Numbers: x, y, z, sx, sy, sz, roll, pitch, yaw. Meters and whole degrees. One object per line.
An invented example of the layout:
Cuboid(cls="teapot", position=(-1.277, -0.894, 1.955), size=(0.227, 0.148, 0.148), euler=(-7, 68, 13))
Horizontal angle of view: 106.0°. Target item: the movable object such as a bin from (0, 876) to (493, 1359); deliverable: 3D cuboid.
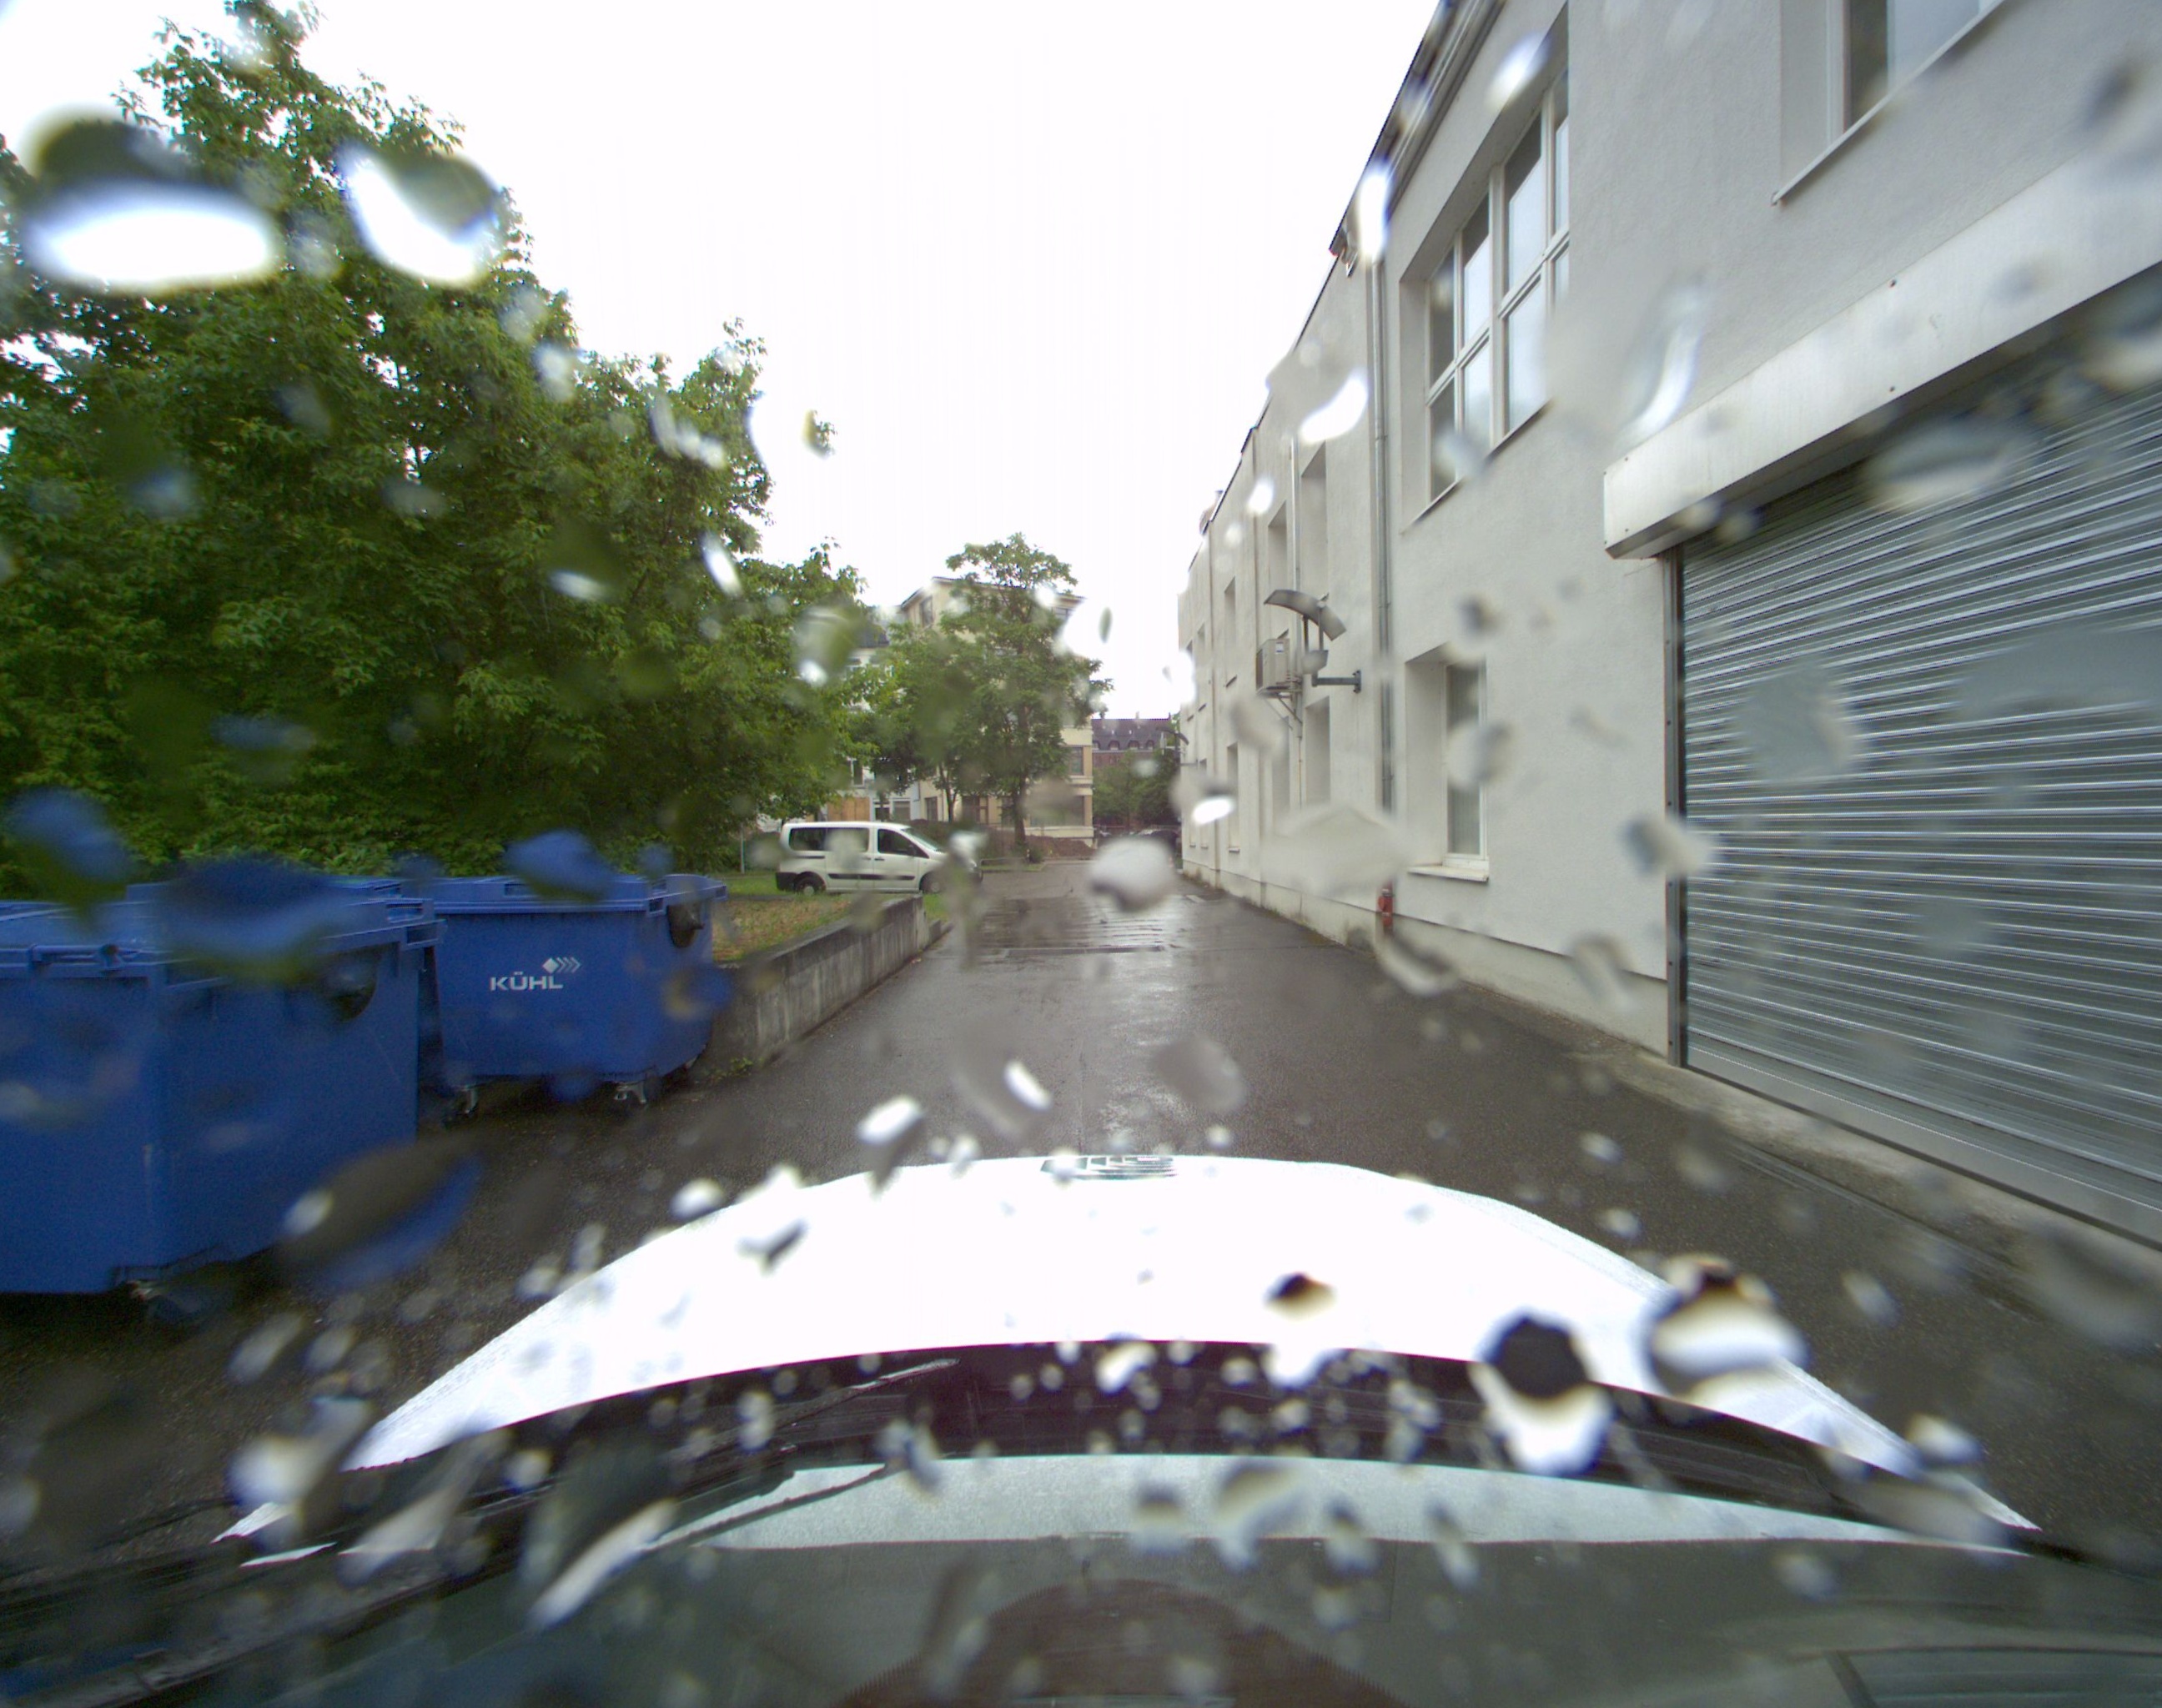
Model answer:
Cuboid(cls="movable object such as a bin", position=(-3.149, 0.784, 2.926), size=(1.197, 1.337, 1.118), euler=(-1, 1, 3))

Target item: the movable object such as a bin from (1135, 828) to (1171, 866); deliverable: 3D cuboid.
Cuboid(cls="movable object such as a bin", position=(2.756, -0.254, 31.202), size=(1.212, 1.437, 1.293), euler=(-1, -1, -3))

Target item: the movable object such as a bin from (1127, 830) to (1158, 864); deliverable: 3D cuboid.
Cuboid(cls="movable object such as a bin", position=(2.676, -0.287, 35.587), size=(1.212, 1.437, 1.258), euler=(-1, -1, -3))

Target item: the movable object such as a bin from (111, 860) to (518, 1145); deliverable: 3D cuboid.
Cuboid(cls="movable object such as a bin", position=(-4.119, 0.739, 4.521), size=(1.217, 1.336, 1.006), euler=(-1, 3, -1))

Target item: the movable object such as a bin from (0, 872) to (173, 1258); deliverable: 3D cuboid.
Cuboid(cls="movable object such as a bin", position=(-4.468, 0.776, 2.872), size=(1.199, 1.336, 1.117), euler=(1, 3, -1))

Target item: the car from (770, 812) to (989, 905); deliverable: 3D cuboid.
Cuboid(cls="car", position=(-4.804, 0.063, 19.994), size=(4.765, 2.013, 2.000), euler=(-2, 2, 0))

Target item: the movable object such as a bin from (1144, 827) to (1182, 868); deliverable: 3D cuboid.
Cuboid(cls="movable object such as a bin", position=(2.961, -0.223, 29.515), size=(1.212, 1.437, 1.234), euler=(-1, -1, -3))

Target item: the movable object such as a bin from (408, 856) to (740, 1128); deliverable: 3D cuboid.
Cuboid(cls="movable object such as a bin", position=(-2.798, 0.709, 4.671), size=(1.217, 1.337, 1.006), euler=(-1, 2, -1))

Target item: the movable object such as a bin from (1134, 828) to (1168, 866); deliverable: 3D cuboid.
Cuboid(cls="movable object such as a bin", position=(2.798, -0.281, 32.835), size=(1.212, 1.468, 1.234), euler=(-1, -1, -3))

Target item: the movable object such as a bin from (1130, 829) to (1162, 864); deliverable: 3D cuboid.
Cuboid(cls="movable object such as a bin", position=(2.717, -0.301, 34.209), size=(1.212, 1.437, 1.258), euler=(-1, -1, -3))
